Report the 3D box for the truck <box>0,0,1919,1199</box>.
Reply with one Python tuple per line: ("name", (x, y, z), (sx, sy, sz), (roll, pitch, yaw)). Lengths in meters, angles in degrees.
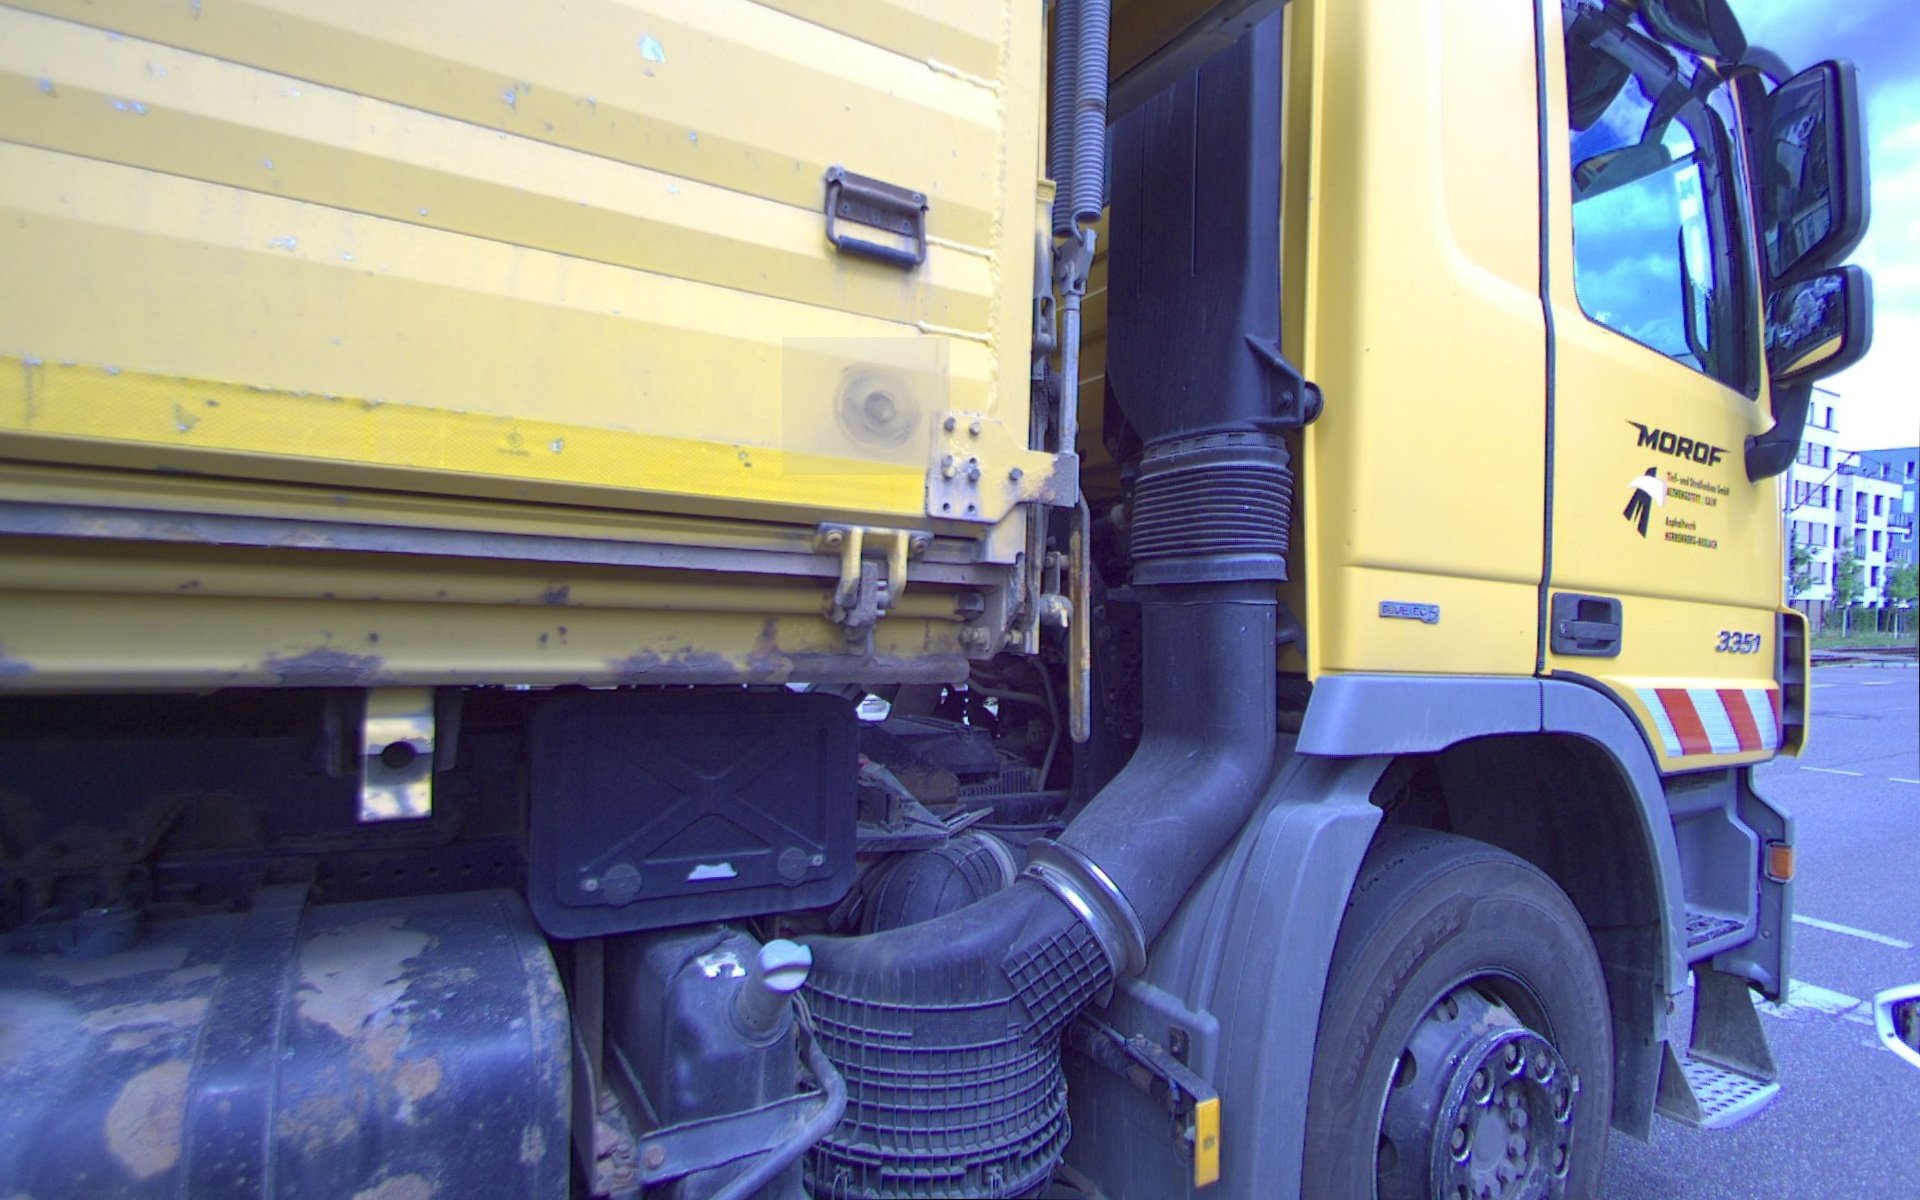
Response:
("truck", (-1.543, -0.055, 1.577), (7.688, 3.043, 2.707), (2, 0, -30))
